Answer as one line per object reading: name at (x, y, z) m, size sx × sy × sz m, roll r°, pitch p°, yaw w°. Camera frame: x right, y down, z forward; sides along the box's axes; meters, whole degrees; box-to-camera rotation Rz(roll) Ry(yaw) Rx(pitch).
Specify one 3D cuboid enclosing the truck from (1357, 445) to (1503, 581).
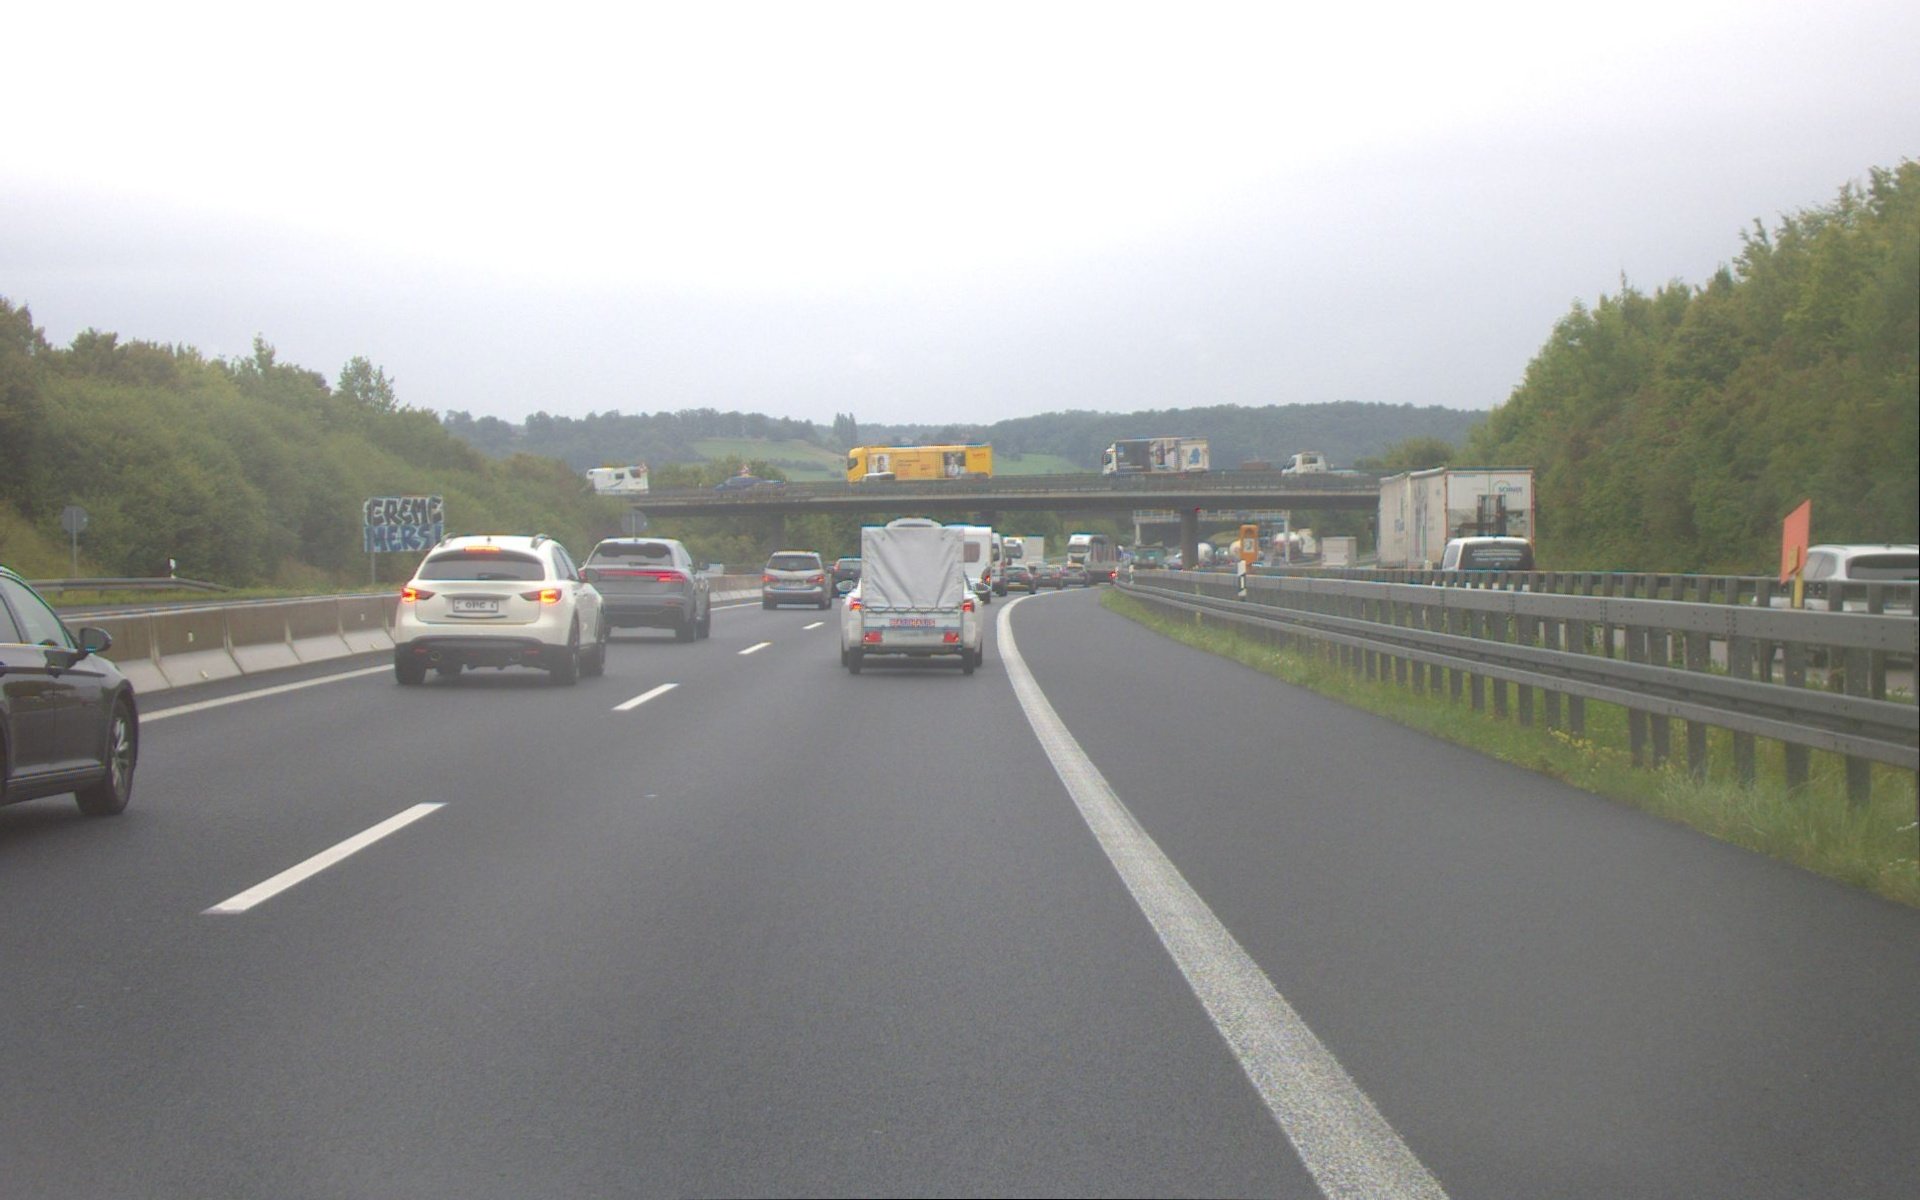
truck at (15.348, -2.839, 113.145) m, size 3.437 × 4.274 × 10.418 m, roll 0°, pitch 1°, yaw 0°

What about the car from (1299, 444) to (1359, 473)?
car at (25.506, -9.784, 237.948) m, size 1.838 × 1.908 × 3.999 m, roll 0°, pitch 1°, yaw -39°

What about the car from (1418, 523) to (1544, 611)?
car at (11.046, -0.720, 73.150) m, size 1.860 × 1.799 × 4.648 m, roll 0°, pitch 1°, yaw -2°

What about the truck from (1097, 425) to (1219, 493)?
truck at (14.618, -10.382, 254.481) m, size 3.766 × 4.819 × 10.044 m, roll 0°, pitch 1°, yaw -34°

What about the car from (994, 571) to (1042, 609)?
car at (2.790, -0.490, 165.430) m, size 1.993 × 1.744 × 4.001 m, roll 1°, pitch 1°, yaw -3°

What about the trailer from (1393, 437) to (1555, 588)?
trailer at (15.249, -2.597, 102.813) m, size 3.437 × 4.274 × 10.454 m, roll 0°, pitch 1°, yaw 1°

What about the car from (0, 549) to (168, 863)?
car at (-5.527, 0.487, 17.531) m, size 1.900 × 1.492 × 4.852 m, roll 0°, pitch 1°, yaw -1°

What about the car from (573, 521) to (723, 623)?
car at (-5.162, -0.489, 57.442) m, size 2.174 × 1.626 × 4.501 m, roll 0°, pitch 1°, yaw -1°

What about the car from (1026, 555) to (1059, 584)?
car at (5.106, -1.904, 213.531) m, size 1.993 × 1.744 × 4.000 m, roll 1°, pitch 1°, yaw 1°

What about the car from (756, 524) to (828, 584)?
car at (-4.618, -1.289, 95.006) m, size 1.900 × 1.607 × 4.017 m, roll 0°, pitch 1°, yaw -2°

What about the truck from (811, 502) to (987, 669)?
truck at (-0.693, -0.248, 44.433) m, size 2.019 × 1.978 × 7.213 m, roll 0°, pitch 1°, yaw 1°

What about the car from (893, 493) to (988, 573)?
car at (-0.625, -2.260, 115.777) m, size 3.017 × 2.607 × 6.074 m, roll 0°, pitch 1°, yaw 1°

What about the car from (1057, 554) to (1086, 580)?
car at (7.807, -2.320, 241.183) m, size 1.993 × 1.744 × 4.000 m, roll 1°, pitch 1°, yaw 2°

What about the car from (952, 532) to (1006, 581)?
car at (0.800, -1.855, 145.428) m, size 1.993 × 2.029 × 4.152 m, roll 1°, pitch 1°, yaw -3°

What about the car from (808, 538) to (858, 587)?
car at (-4.736, -1.414, 128.280) m, size 1.841 × 1.813 × 4.000 m, roll 0°, pitch 1°, yaw -2°

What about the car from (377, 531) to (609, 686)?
car at (-5.160, 0.052, 38.582) m, size 1.976 × 1.633 × 4.501 m, roll 0°, pitch 1°, yaw 0°

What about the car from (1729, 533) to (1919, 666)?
car at (11.101, -0.049, 42.290) m, size 2.007 × 1.543 × 4.696 m, roll 0°, pitch 1°, yaw -3°
